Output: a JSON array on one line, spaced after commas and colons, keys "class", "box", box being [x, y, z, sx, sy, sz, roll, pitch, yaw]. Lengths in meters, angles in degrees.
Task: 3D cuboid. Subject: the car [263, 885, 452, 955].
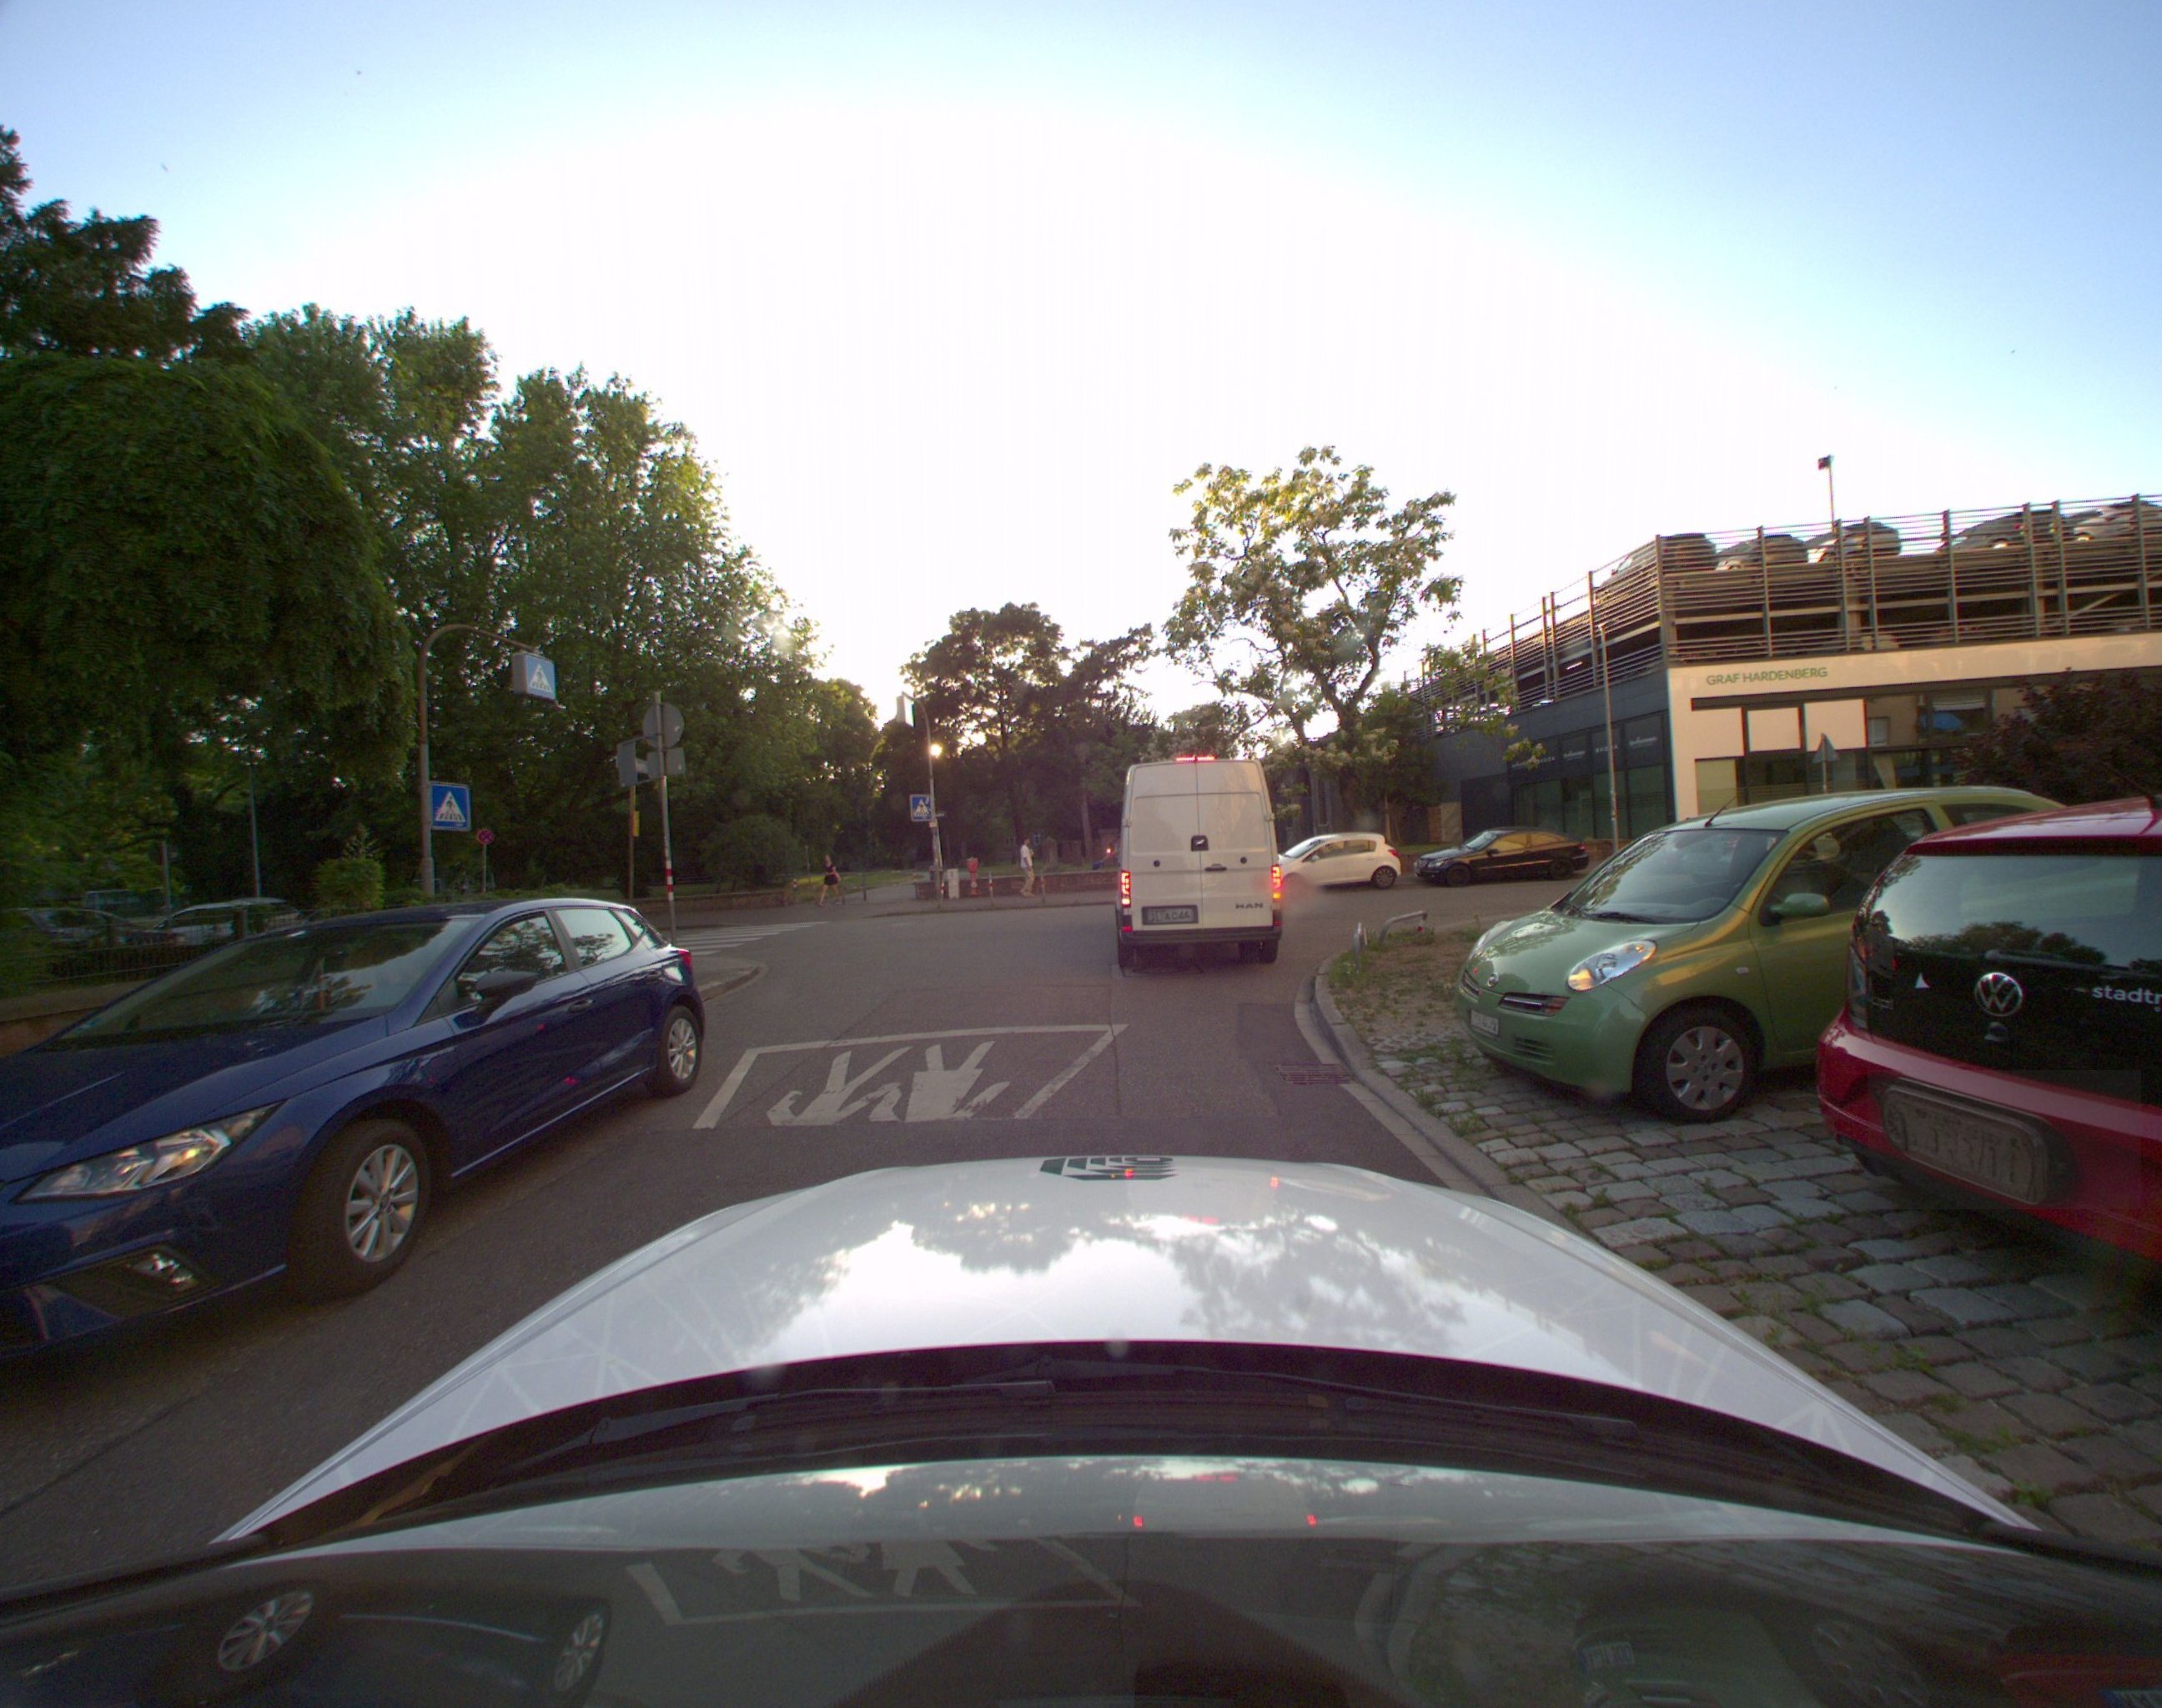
[{"class": "car", "box": [-20.941, 1.889, 23.674, 3.832, 1.491, 1.828, -4, 6, 7]}]

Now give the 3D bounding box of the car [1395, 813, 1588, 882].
[{"class": "car", "box": [11.110, -0.172, 22.281, 4.273, 1.503, 1.826, -4, 0, 4]}]

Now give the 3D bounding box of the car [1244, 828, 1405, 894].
[{"class": "car", "box": [6.680, 0.172, 22.681, 3.844, 1.574, 1.957, -3, 0, -2]}]

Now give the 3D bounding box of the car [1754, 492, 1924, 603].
[{"class": "car", "box": [24.519, -9.868, 26.572, 1.984, 2.013, 4.007, -2, 0, 6]}]

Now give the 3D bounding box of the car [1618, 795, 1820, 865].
[{"class": "car", "box": [16.848, -0.619, 21.675, 3.819, 1.503, 1.826, -4, 0, 4]}]

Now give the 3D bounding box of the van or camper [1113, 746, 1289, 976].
[{"class": "van or camper", "box": [1.538, 0.071, 12.548, 1.985, 2.618, 6.408, -1, 0, 3]}]

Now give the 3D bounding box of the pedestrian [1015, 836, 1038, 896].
[{"class": "pedestrian", "box": [-1.683, 0.373, 25.150, 0.591, 1.809, 0.621, -2, 0, 2]}]

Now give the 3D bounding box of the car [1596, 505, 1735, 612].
[{"class": "car", "box": [19.234, -9.677, 27.051, 1.984, 2.013, 4.007, -2, 0, 6]}]

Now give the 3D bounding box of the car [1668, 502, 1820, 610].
[{"class": "car", "box": [21.798, -9.757, 27.010, 1.984, 2.013, 4.007, -2, 0, 6]}]

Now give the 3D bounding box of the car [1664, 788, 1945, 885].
[{"class": "car", "box": [14.272, -0.331, 16.276, 3.819, 1.523, 1.826, -4, 0, 4]}]

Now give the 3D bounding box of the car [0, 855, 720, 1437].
[{"class": "car", "box": [-3.537, 0.868, 4.137, 1.729, 1.567, 3.787, -5, 0, -3]}]

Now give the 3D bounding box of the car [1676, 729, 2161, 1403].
[{"class": "car", "box": [4.774, 0.265, 2.487, 4.386, 1.631, 1.847, -7, 0, 2]}]

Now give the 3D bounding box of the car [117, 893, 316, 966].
[{"class": "car", "box": [-25.645, 2.216, 24.258, 3.852, 1.562, 1.826, -4, 6, 3]}]

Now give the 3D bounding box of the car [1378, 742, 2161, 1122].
[{"class": "car", "box": [4.418, 0.358, 5.043, 4.392, 1.631, 1.844, -5, -2, -2]}]

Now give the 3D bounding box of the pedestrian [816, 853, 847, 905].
[{"class": "pedestrian", "box": [-8.198, 0.814, 26.720, 0.640, 1.648, 0.678, -1, 0, 34]}]
